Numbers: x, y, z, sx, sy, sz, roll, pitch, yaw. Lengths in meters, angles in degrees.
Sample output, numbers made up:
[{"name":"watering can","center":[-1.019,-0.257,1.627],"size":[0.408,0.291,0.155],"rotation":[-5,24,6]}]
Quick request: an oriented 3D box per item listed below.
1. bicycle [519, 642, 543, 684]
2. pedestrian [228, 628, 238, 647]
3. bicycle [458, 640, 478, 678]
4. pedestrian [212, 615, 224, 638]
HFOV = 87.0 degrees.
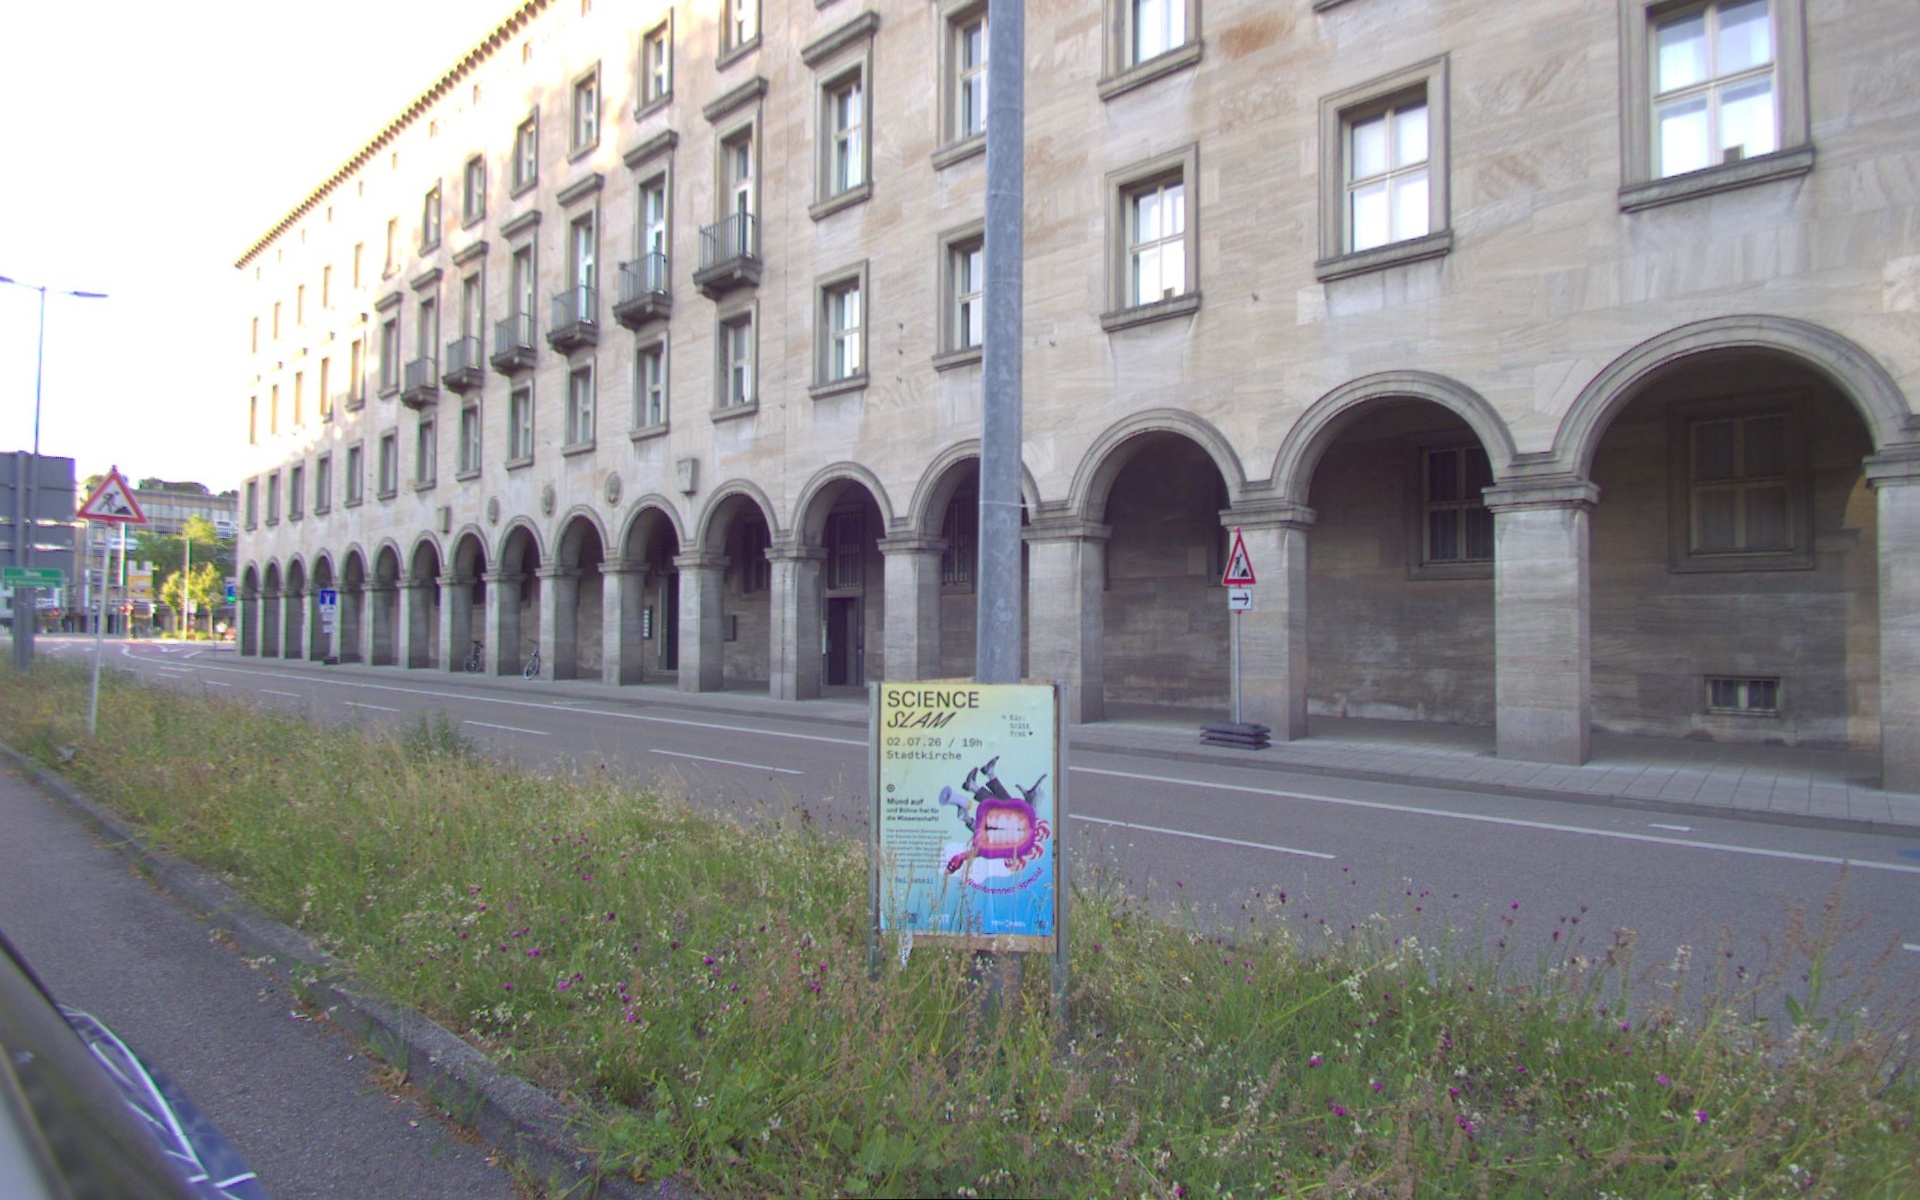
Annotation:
[{"name":"bicycle","center":[-12.736,1.847,30.080],"size":[0.505,1.130,2.431],"rotation":[1,-1,-20]},{"name":"pedestrian","center":[-58.905,3.057,81.968],"size":[0.389,1.553,0.519],"rotation":[-2,-3,41]},{"name":"bicycle","center":[-16.120,1.905,33.191],"size":[0.505,1.188,2.431],"rotation":[1,-2,-25]},{"name":"pedestrian","center":[-59.670,2.132,81.417],"size":[0.506,1.771,0.630],"rotation":[-2,-3,41]}]
